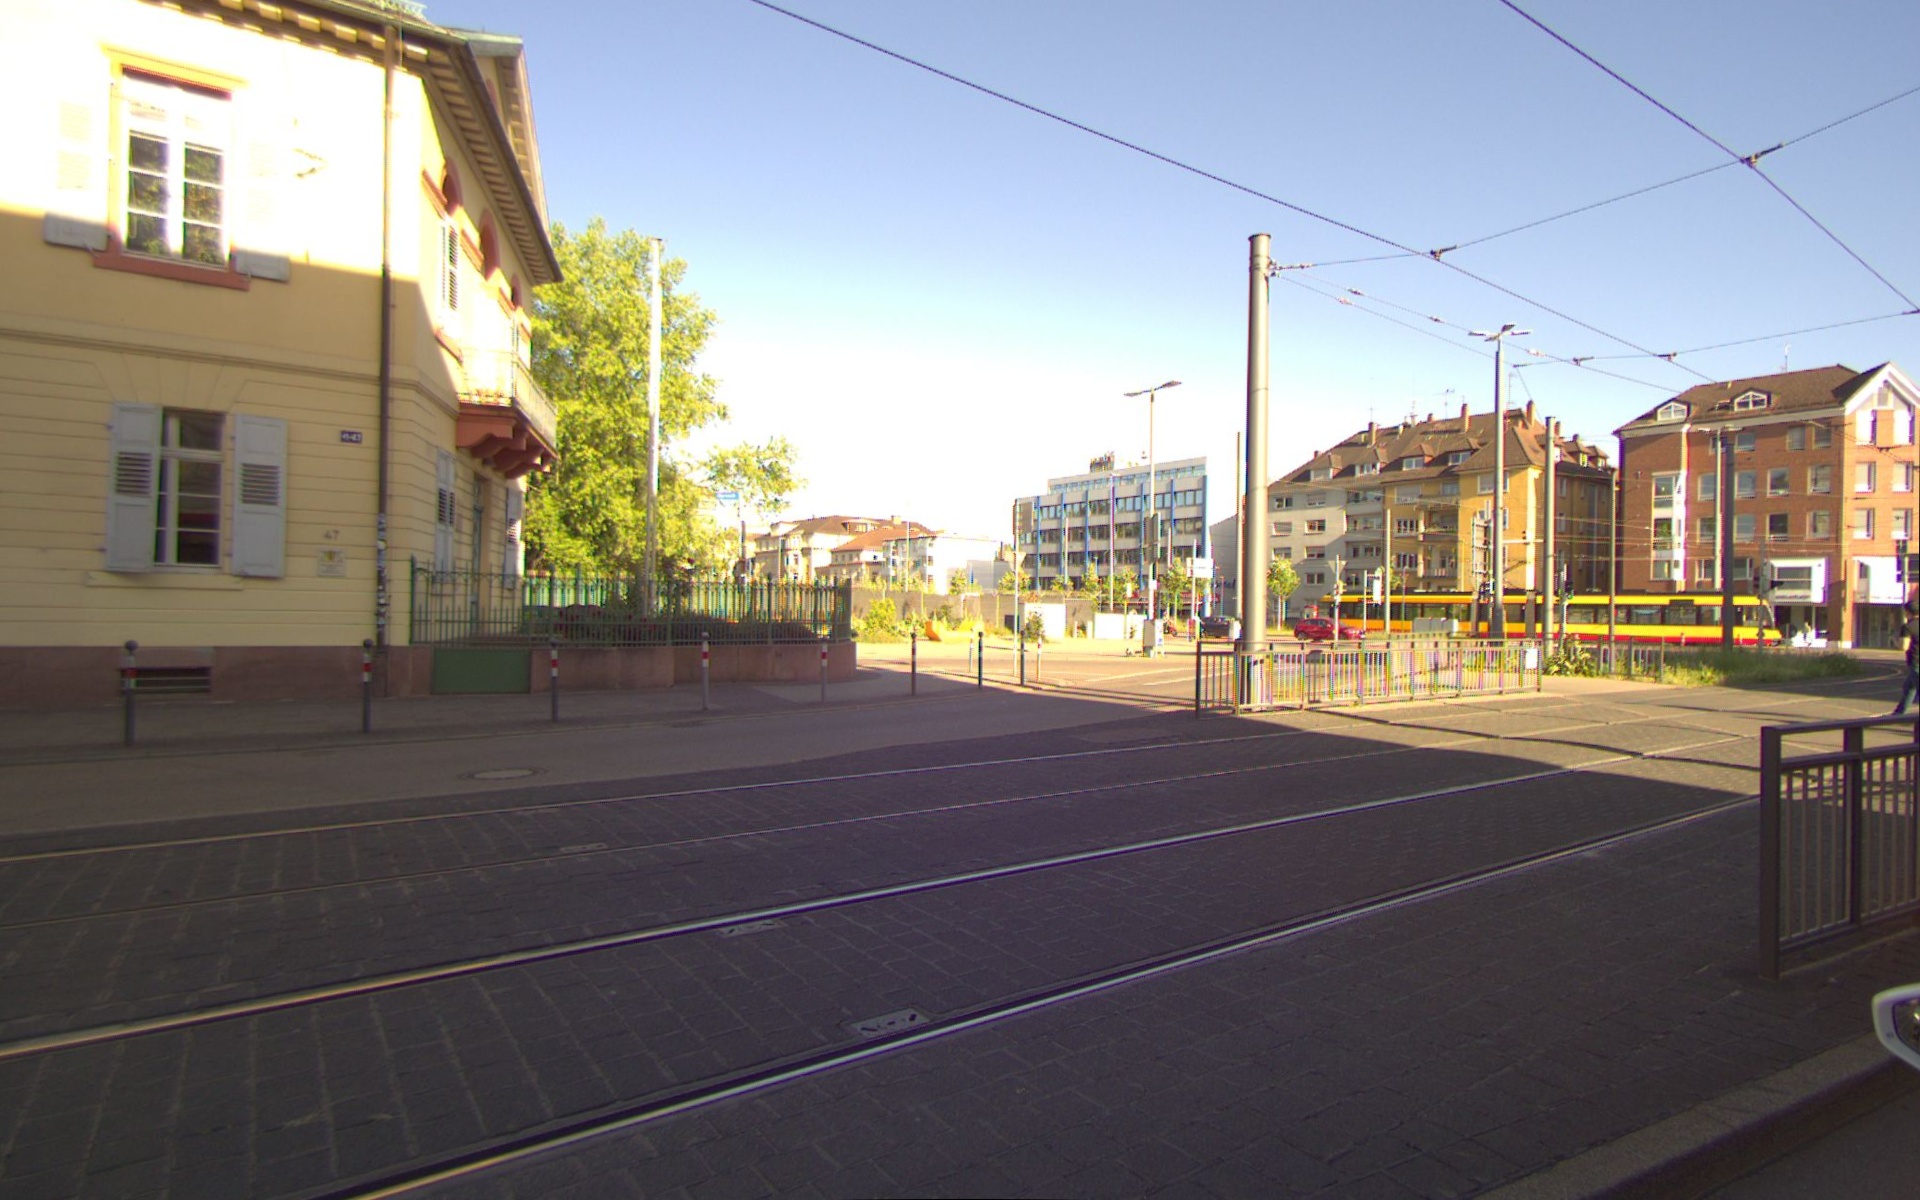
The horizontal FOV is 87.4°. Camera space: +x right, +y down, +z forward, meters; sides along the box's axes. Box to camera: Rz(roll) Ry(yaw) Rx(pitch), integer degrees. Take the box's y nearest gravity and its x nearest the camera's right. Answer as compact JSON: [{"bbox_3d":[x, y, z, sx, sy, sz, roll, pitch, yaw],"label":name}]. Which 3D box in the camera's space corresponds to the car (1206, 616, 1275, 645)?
[{"bbox_3d":[18.001,1.936,64.576,1.762,1.694,3.955,2,0,-39],"label":"car"}]

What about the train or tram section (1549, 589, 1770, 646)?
[{"bbox_3d":[43.587,1.013,63.013,11.091,3.172,2.793,2,0,38],"label":"train or tram section"}]

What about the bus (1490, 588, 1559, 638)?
[{"bbox_3d":[38.009,0.867,67.649,3.478,3.172,2.755,2,0,43],"label":"bus"}]

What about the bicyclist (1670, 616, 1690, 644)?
[{"bbox_3d":[39.625,1.639,55.299,0.688,1.523,0.630,2,0,-30],"label":"bicyclist"}]

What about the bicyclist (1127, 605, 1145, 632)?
[{"bbox_3d":[12.104,1.260,68.995,0.785,1.832,0.892,2,0,-42],"label":"bicyclist"}]

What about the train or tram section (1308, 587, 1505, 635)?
[{"bbox_3d":[32.586,0.737,74.338,2.711,3.172,13.561,2,0,-39],"label":"train or tram section"}]

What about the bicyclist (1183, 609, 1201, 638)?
[{"bbox_3d":[14.158,1.429,61.263,0.746,1.783,0.750,2,0,-16],"label":"bicyclist"}]

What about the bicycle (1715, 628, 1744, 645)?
[{"bbox_3d":[44.898,2.141,58.573,2.220,0.984,0.521,2,0,-31],"label":"bicycle"}]

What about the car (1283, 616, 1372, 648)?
[{"bbox_3d":[21.866,1.879,59.893,1.984,1.723,4.545,2,0,-41],"label":"car"}]

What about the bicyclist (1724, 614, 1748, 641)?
[{"bbox_3d":[45.437,1.607,58.836,0.688,1.523,0.894,2,0,-30],"label":"bicyclist"}]

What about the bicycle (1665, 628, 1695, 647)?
[{"bbox_3d":[39.668,2.057,55.329,2.220,0.984,0.444,2,0,-31],"label":"bicycle"}]

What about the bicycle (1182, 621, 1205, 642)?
[{"bbox_3d":[14.197,1.914,61.133,0.477,1.238,1.849,2,0,-15],"label":"bicycle"}]

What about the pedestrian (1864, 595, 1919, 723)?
[{"bbox_3d":[12.944,0.791,13.651,0.759,1.703,0.592,2,0,-3],"label":"pedestrian"}]

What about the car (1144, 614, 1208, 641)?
[{"bbox_3d":[14.742,1.865,68.567,1.895,1.708,3.916,2,0,-41],"label":"car"}]
